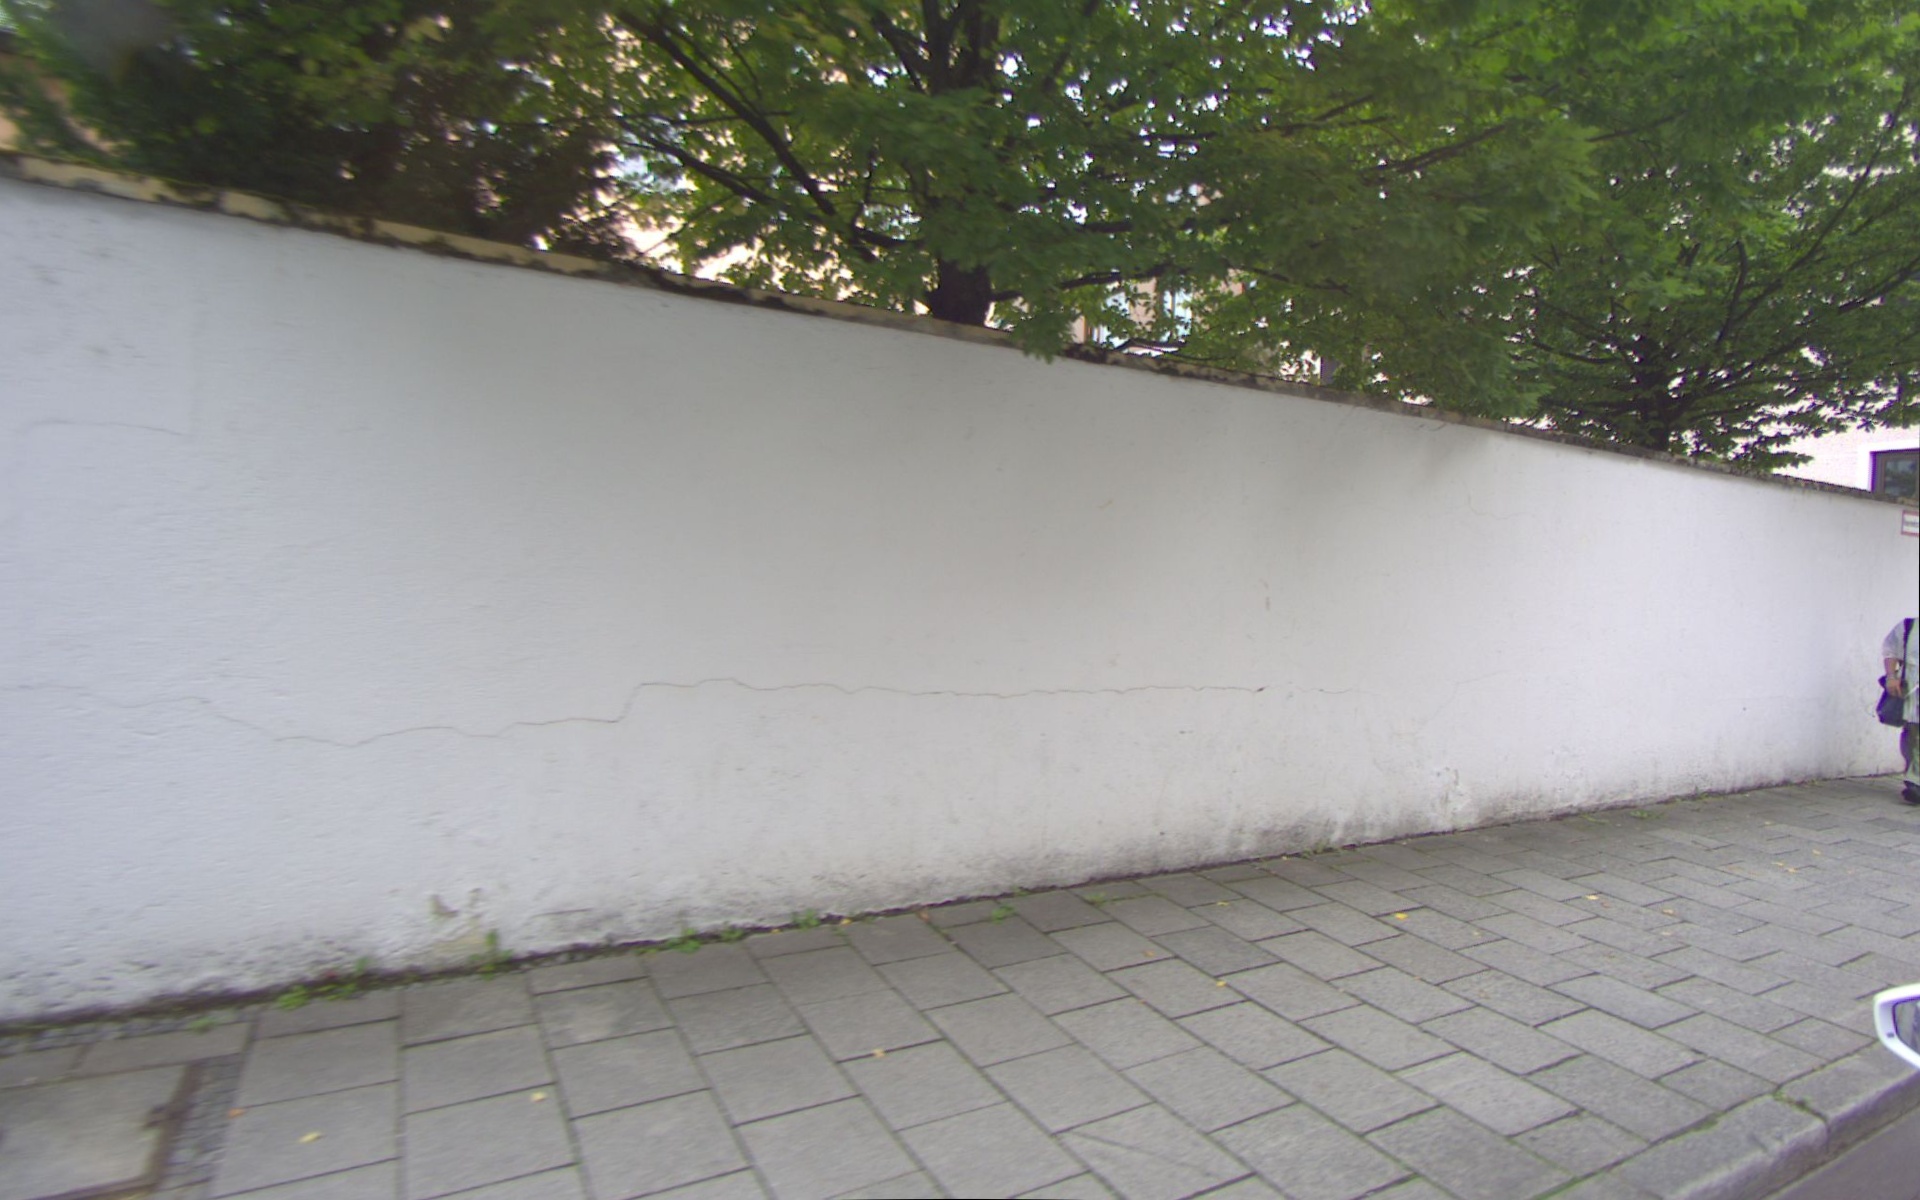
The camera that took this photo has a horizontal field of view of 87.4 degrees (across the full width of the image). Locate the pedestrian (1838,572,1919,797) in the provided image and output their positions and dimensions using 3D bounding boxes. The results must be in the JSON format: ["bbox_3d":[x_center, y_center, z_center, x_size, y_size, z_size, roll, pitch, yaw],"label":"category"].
[{"bbox_3d":[7.381,0.640,7.728,0.679,1.643,0.610,2,4,-29],"label":"pedestrian"}]
